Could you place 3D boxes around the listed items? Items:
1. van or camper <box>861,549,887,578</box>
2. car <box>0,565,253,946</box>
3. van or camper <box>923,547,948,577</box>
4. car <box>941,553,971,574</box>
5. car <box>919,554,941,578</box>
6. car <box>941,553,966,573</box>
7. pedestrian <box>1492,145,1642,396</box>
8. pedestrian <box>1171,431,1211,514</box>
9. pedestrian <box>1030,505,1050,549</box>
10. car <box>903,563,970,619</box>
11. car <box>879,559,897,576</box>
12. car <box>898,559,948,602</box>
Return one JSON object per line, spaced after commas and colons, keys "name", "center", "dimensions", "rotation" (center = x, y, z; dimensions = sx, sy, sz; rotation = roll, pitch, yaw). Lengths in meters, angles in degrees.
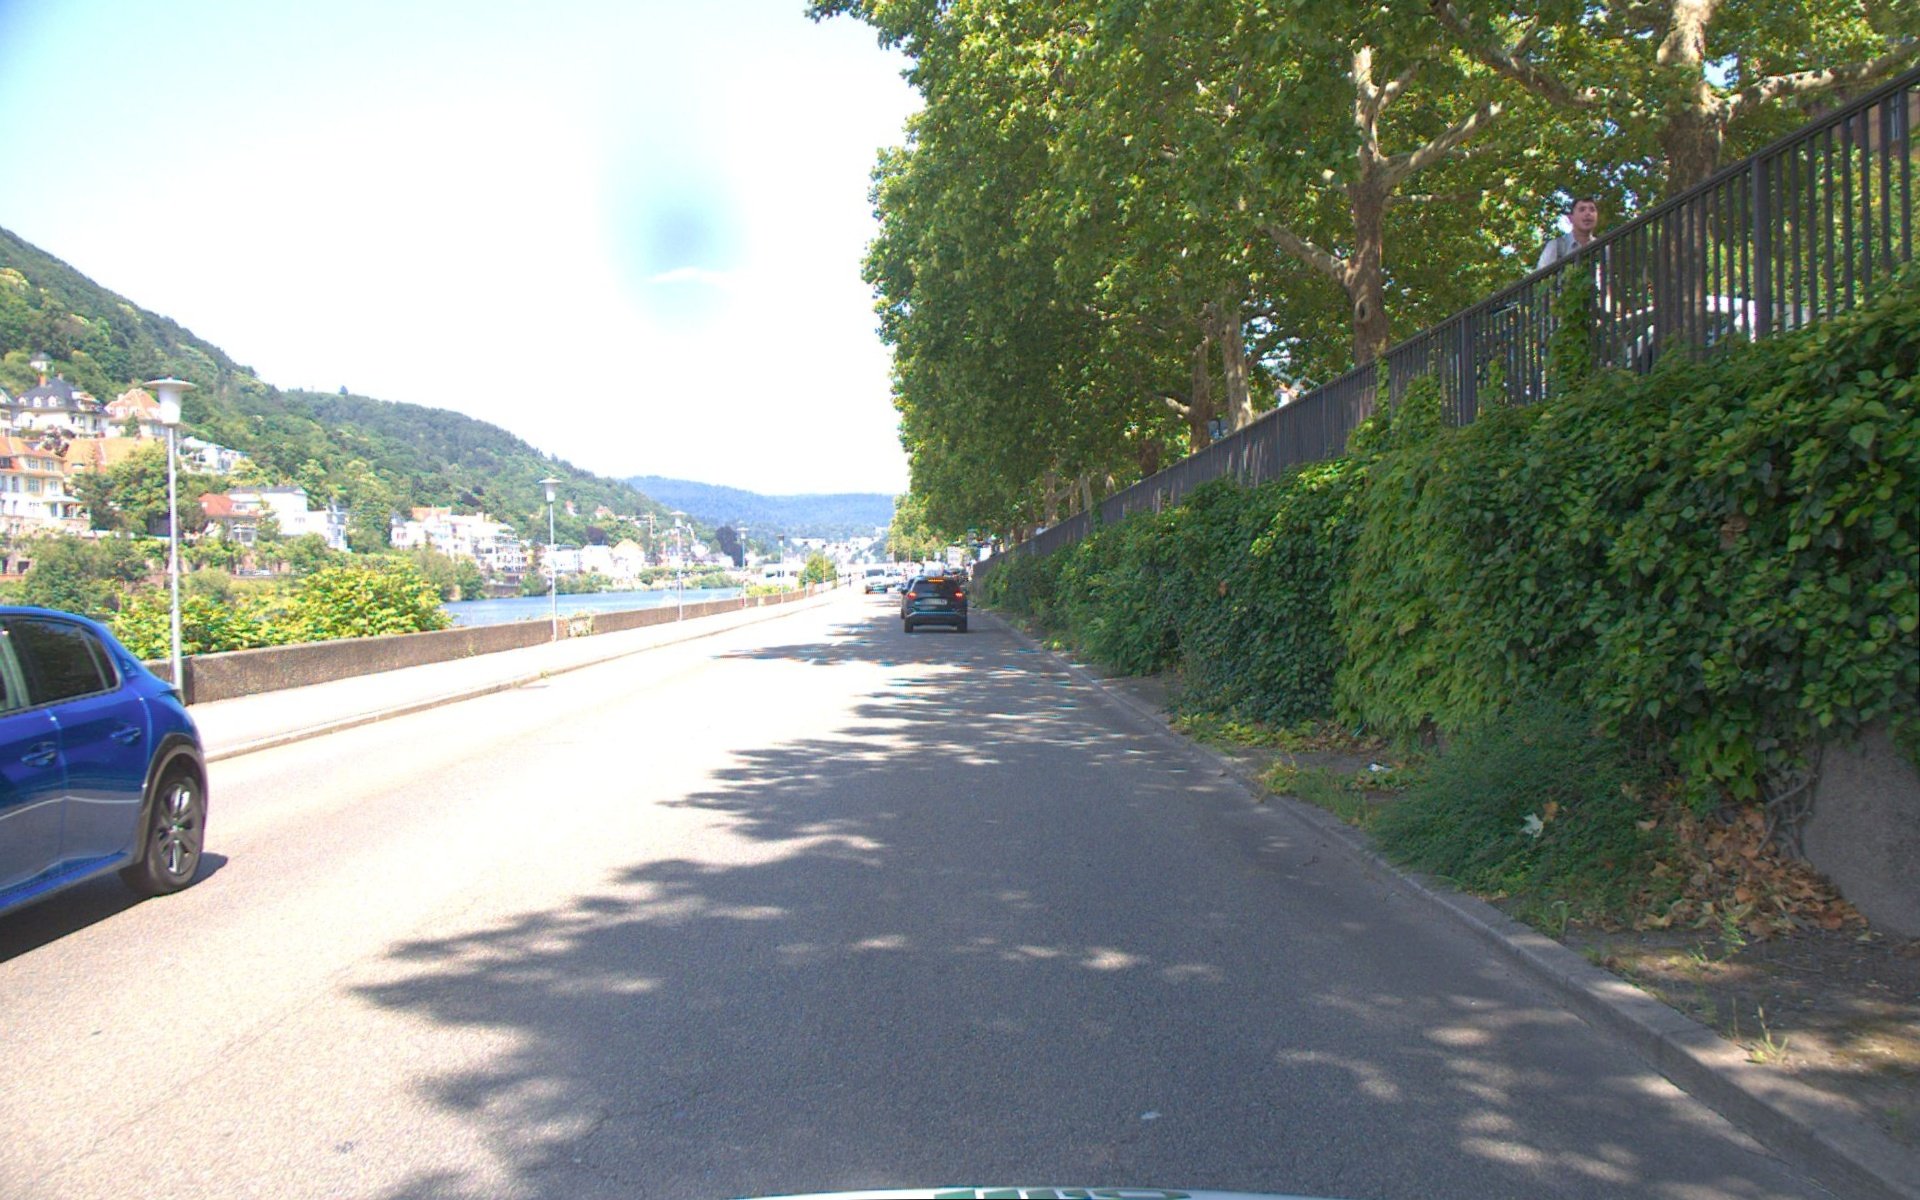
{"name": "van or camper", "center": [-7.527, -3.187, 145.265], "dimensions": [2.035, 2.440, 5.384], "rotation": [-3, 1, -1]}
{"name": "car", "center": [-4.566, 0.641, 6.805], "dimensions": [1.639, 1.466, 3.901], "rotation": [-3, 1, -2]}
{"name": "van or camper", "center": [-2.478, -3.842, 167.629], "dimensions": [2.263, 2.896, 4.246], "rotation": [-2, 1, 0]}
{"name": "car", "center": [-0.458, -4.035, 180.629], "dimensions": [3.036, 2.048, 5.823], "rotation": [-4, 1, -2]}
{"name": "car", "center": [-2.802, -3.175, 154.288], "dimensions": [1.954, 2.207, 3.999], "rotation": [-2, 1, -2]}
{"name": "car", "center": [-0.812, -4.341, 193.029], "dimensions": [2.608, 2.048, 5.823], "rotation": [-4, 1, -2]}
{"name": "pedestrian", "center": [4.301, -2.313, 11.767], "dimensions": [0.722, 1.619, 0.810], "rotation": [-2, 1, -2]}
{"name": "pedestrian", "center": [4.782, -2.627, 34.284], "dimensions": [0.635, 1.668, 0.625], "rotation": [-2, 1, -9]}
{"name": "pedestrian", "center": [3.065, -2.796, 63.508], "dimensions": [0.651, 1.619, 0.650], "rotation": [-2, 1, -2]}
{"name": "car", "center": [-0.695, -0.291, 46.730], "dimensions": [1.791, 1.512, 3.999], "rotation": [0, 1, -2]}
{"name": "car", "center": [-7.453, -3.347, 171.554], "dimensions": [1.697, 1.678, 4.176], "rotation": [-3, 1, -2]}
{"name": "car", "center": [-1.397, -0.748, 61.942], "dimensions": [1.791, 1.537, 3.999], "rotation": [0, 1, -2]}
